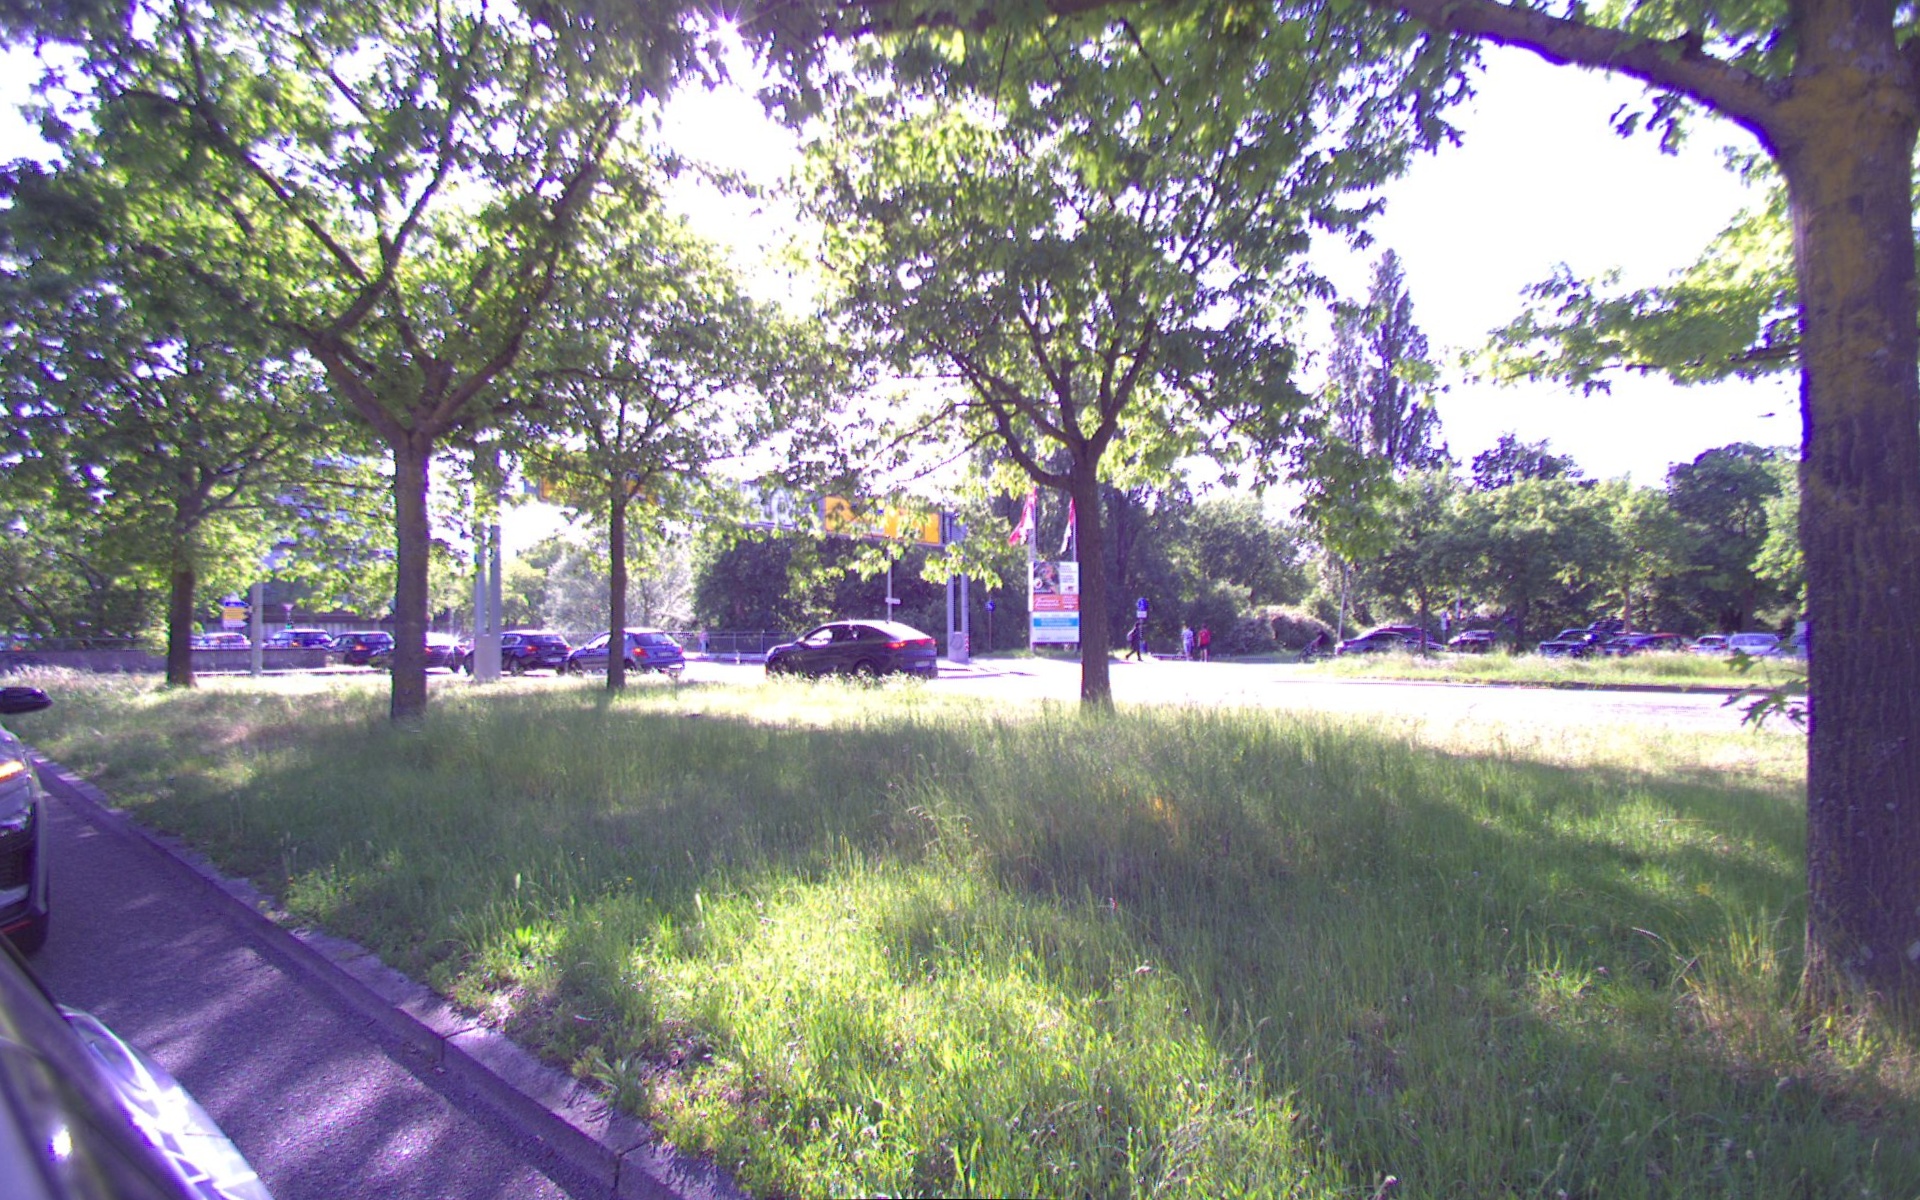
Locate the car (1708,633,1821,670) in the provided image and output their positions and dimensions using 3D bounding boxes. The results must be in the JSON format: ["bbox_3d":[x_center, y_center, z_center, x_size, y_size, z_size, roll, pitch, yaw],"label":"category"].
[{"bbox_3d":[26.893,1.704,33.908,2.783,1.165,1.327,-1,-2,32],"label":"car"}]

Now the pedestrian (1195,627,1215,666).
[{"bbox_3d":[11.704,2.205,48.307,0.742,1.802,0.905,-1,0,2],"label":"pedestrian"}]

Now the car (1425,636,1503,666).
[{"bbox_3d":[31.561,3.203,63.481,3.961,1.807,1.991,-1,-2,14],"label":"car"}]

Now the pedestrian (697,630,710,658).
[{"bbox_3d":[-14.022,2.395,55.362,0.544,1.510,0.416,-2,-2,33],"label":"pedestrian"}]

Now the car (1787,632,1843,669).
[{"bbox_3d":[35.621,2.073,42.215,1.617,1.430,3.038,-2,-2,38],"label":"car"}]

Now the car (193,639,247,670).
[{"bbox_3d":[-35.049,2.592,47.923,2.875,1.350,1.214,-5,-4,34],"label":"car"}]

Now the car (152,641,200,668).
[{"bbox_3d":[-40.058,2.787,51.713,2.761,1.270,1.186,-4,-3,35],"label":"car"}]

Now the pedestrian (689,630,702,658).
[{"bbox_3d":[-14.366,2.407,54.962,0.544,1.510,0.416,-2,-2,33],"label":"pedestrian"}]

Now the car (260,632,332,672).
[{"bbox_3d":[-28.120,2.212,42.837,3.195,1.571,1.433,-4,-3,34],"label":"car"}]

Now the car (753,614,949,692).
[{"bbox_3d":[-2.589,1.183,23.461,4.450,1.660,1.810,-2,-2,35],"label":"car"}]

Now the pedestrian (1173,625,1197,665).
[{"bbox_3d":[10.872,2.178,48.890,0.846,1.881,0.903,-1,0,-4],"label":"pedestrian"}]

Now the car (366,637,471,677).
[{"bbox_3d":[-19.217,1.993,35.859,4.058,1.323,1.604,-2,-2,35],"label":"car"}]

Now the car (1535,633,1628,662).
[{"bbox_3d":[23.362,1.781,38.115,2.774,1.072,1.324,-1,-2,23],"label":"car"}]

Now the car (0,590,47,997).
[{"bbox_3d":[-5.627,0.770,4.602,3.986,1.544,1.730,-2,-2,41],"label":"car"}]

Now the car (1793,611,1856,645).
[{"bbox_3d":[43.896,1.424,51.393,3.694,1.681,1.895,1,-2,-41],"label":"car"}]

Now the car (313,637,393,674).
[{"bbox_3d":[-23.409,2.131,39.030,3.195,1.349,1.464,-3,-3,35],"label":"car"}]

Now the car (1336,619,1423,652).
[{"bbox_3d":[22.429,1.906,54.285,3.959,1.678,1.992,-1,-2,13],"label":"car"}]

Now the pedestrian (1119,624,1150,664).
[{"bbox_3d":[7.196,1.801,41.787,0.985,1.642,0.904,-2,-2,33],"label":"pedestrian"}]

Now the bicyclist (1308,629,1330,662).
[{"bbox_3d":[16.467,2.091,46.437,0.839,1.500,0.678,-1,-2,13],"label":"bicyclist"}]

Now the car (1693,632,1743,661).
[{"bbox_3d":[32.979,1.992,44.111,1.616,1.187,3.040,-2,-2,35],"label":"car"}]

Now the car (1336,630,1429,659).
[{"bbox_3d":[21.138,2.210,50.755,3.957,1.385,1.826,-1,-2,11],"label":"car"}]

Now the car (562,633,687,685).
[{"bbox_3d":[-9.564,1.650,28.775,3.601,1.374,1.543,-2,-2,35],"label":"car"}]

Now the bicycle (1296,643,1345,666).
[{"bbox_3d":[16.530,2.495,46.383,2.016,1.060,0.684,-1,-2,13],"label":"bicycle"}]

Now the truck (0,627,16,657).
[{"bbox_3d":[-111.098,4.692,112.221,9.016,3.275,3.536,1,-2,-38],"label":"truck"}]

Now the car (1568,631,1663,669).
[{"bbox_3d":[23.541,1.792,36.432,2.783,1.315,1.327,-2,-2,32],"label":"car"}]

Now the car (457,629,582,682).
[{"bbox_3d":[-14.159,1.733,32.455,4.215,1.562,1.853,-2,-2,37],"label":"car"}]
